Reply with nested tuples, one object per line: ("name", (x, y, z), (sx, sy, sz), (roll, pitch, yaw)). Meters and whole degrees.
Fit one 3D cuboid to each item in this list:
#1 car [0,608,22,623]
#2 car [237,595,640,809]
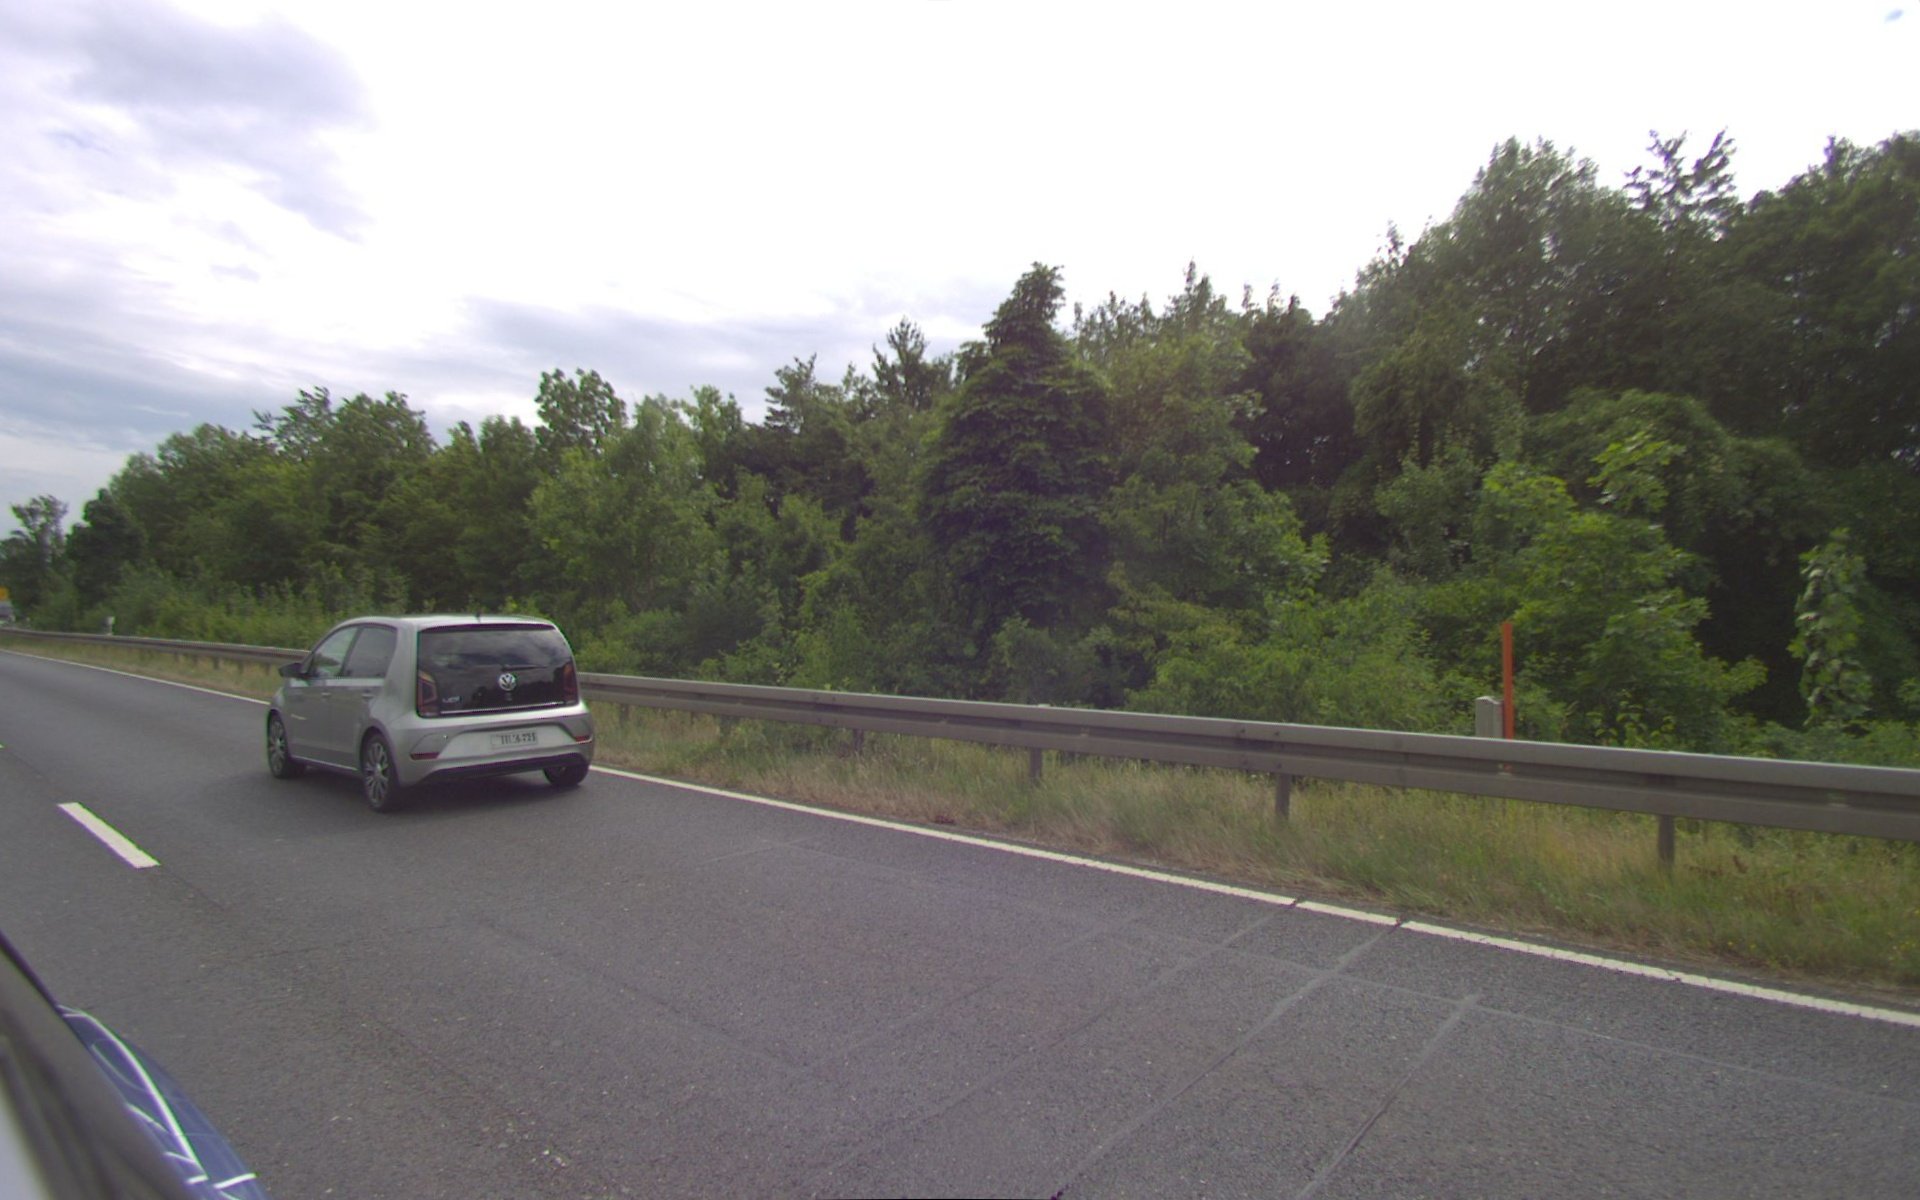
("car", (-121.505, 1.986, 129.344), (1.894, 1.850, 4.009), (4, -3, -37))
("car", (-4.728, 0.725, 8.930), (3.998, 1.456, 1.816), (0, -1, 41))
